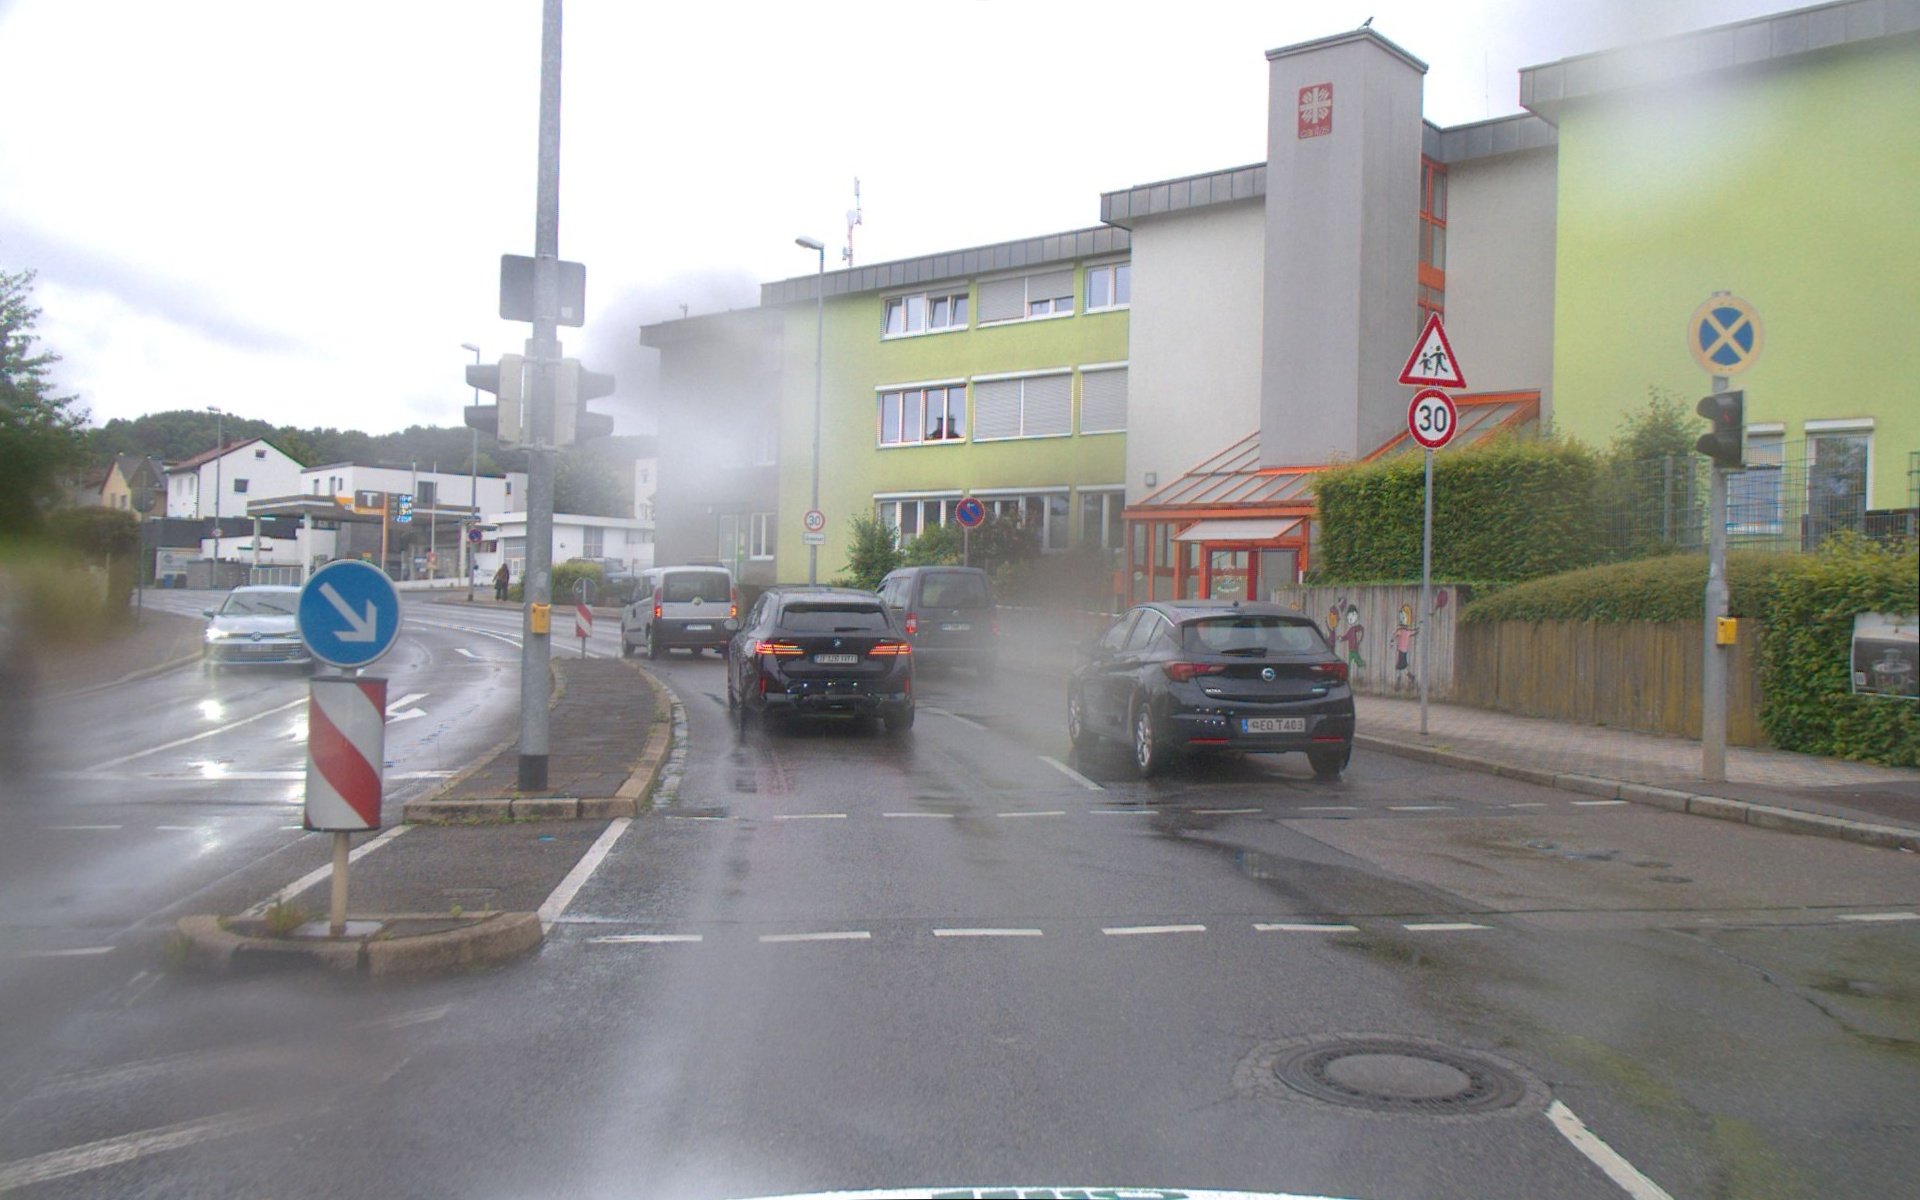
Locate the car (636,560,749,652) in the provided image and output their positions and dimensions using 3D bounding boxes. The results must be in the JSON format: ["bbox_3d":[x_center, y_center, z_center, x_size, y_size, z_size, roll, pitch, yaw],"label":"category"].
[{"bbox_3d":[-5.594,0.153,34.239,1.960,1.768,3.985,1,-1,-14],"label":"car"}]

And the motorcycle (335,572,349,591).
[{"bbox_3d":[-36.209,-1.059,96.894,0.458,1.074,1.375,2,-1,-32],"label":"motorcycle"}]

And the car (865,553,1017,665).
[{"bbox_3d":[-0.412,0.180,28.748,1.807,1.798,3.986,1,-1,-13],"label":"car"}]

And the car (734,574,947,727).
[{"bbox_3d":[-1.451,0.543,18.546,1.957,1.510,3.990,1,-1,-10],"label":"car"}]

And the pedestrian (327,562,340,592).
[{"bbox_3d":[-36.622,-1.346,96.672,0.604,1.685,0.579,2,-1,-33],"label":"pedestrian"}]

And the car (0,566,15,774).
[{"bbox_3d":[-8.536,0.534,11.580,1.847,1.707,4.223,1,-1,-8],"label":"car"}]

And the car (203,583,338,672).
[{"bbox_3d":[-12.390,0.500,29.956,1.648,1.475,4.668,1,-1,-15],"label":"car"}]

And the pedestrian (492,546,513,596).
[{"bbox_3d":[-19.171,-1.200,69.309,0.600,2.049,0.718,1,-1,2],"label":"pedestrian"}]

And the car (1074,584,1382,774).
[{"bbox_3d":[2.260,0.628,15.005,1.723,1.475,3.994,1,0,-7],"label":"car"}]
